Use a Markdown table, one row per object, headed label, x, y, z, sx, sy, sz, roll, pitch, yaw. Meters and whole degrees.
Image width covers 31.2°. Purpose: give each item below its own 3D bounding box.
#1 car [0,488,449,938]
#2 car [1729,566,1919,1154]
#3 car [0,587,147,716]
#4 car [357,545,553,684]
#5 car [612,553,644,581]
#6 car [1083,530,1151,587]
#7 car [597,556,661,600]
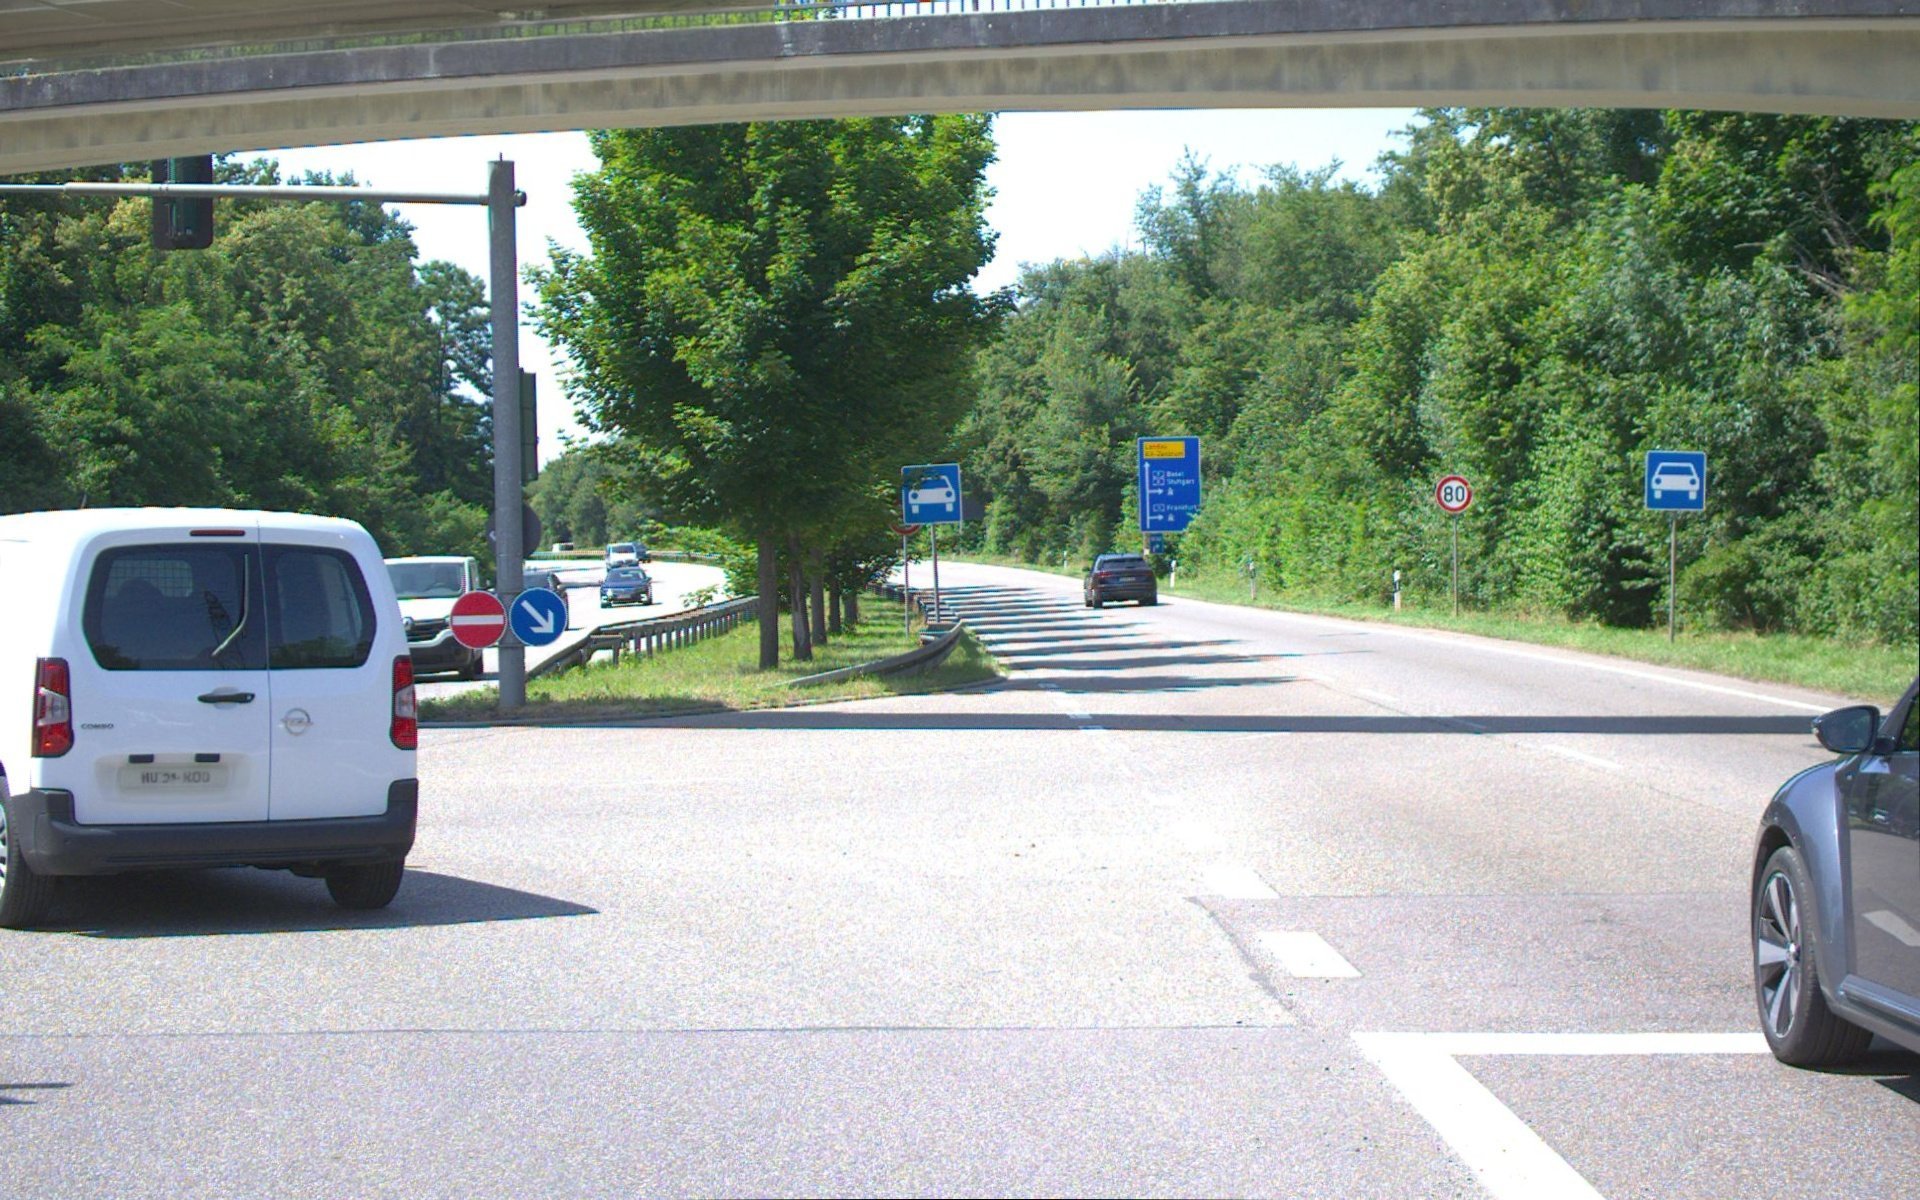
| label | x | y | z | sx | sy | sz | roll | pitch | yaw |
| --- | --- | --- | --- | --- | --- | --- | --- | --- | --- |
| car | -3.946 | 0.456 | 16.082 | 1.849 | 1.819 | 3.981 | 0 | 0 | -28 |
| car | 3.376 | 0.668 | 8.830 | 1.900 | 1.473 | 3.939 | 1 | 1 | 0 |
| car | -11.467 | 0.618 | 42.137 | 2.008 | 1.455 | 4.055 | -2 | 1 | 0 |
| car | -7.871 | 0.187 | 54.114 | 2.208 | 1.986 | 5.488 | -2 | 1 | 0 |
| car | -21.573 | -2.111 | 223.442 | 1.993 | 1.744 | 4.001 | 1 | 0 | -6 |
| car | 4.894 | -1.307 | 107.347 | 2.042 | 1.693 | 5.086 | -1 | 1 | 3 |
| car | -12.719 | -0.860 | 132.221 | 2.008 | 1.596 | 4.055 | -2 | 1 | 0 |
